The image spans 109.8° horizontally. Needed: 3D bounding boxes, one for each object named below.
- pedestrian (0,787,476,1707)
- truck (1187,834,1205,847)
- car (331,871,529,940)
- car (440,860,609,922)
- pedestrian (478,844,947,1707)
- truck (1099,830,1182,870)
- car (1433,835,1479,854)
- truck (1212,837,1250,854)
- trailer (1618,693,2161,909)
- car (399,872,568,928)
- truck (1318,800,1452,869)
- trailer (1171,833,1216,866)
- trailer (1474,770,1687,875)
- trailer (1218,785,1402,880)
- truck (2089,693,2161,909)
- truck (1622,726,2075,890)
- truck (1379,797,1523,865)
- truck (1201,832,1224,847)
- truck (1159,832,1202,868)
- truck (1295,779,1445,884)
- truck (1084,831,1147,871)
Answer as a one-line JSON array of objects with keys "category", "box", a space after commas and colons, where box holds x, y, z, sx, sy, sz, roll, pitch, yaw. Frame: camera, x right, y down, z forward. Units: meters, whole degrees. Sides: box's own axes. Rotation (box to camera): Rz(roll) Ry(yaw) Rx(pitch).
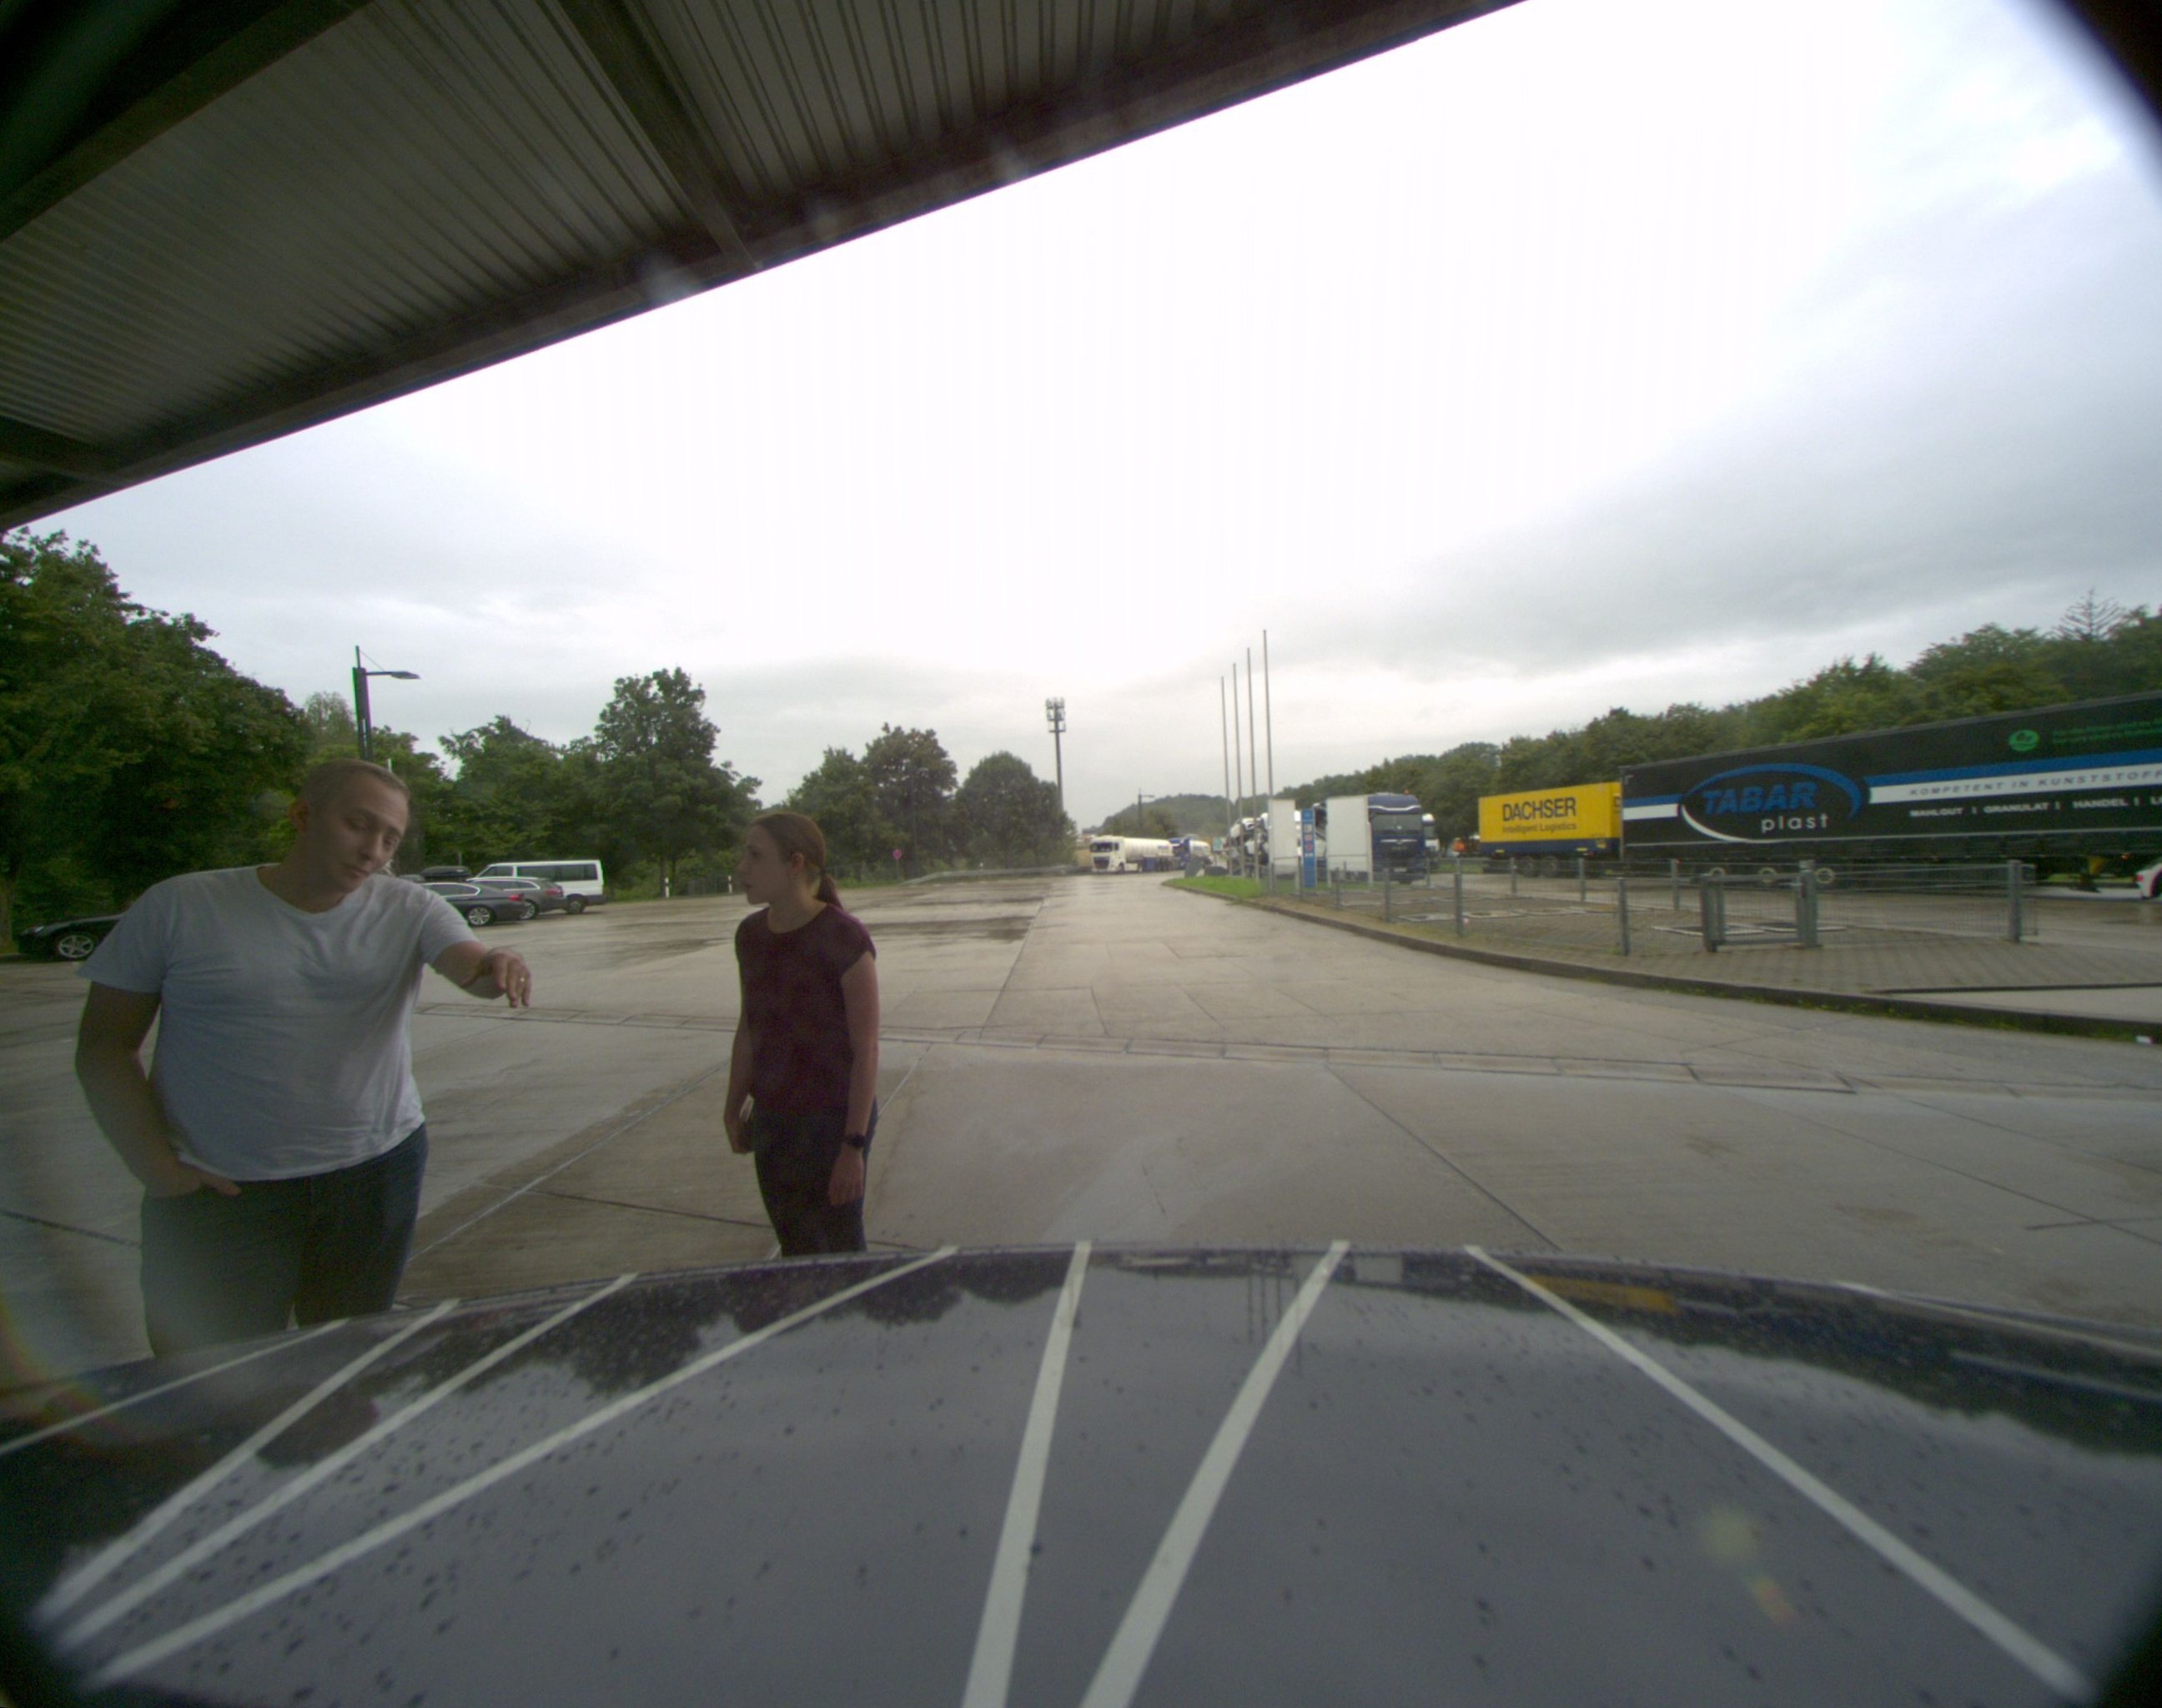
[{"category": "pedestrian", "box": [-1.704, 0.785, 1.519, 0.635, 1.800, 0.493, -4, 3, -34]}, {"category": "truck", "box": [30.813, -3.643, 204.146, 2.619, 3.458, 9.319, -2, 1, -4]}, {"category": "car", "box": [-19.128, 1.451, 22.636, 4.187, 1.720, 1.995, -2, 0, -33]}, {"category": "car", "box": [-20.269, 1.283, 27.908, 4.780, 1.974, 2.010, -2, 0, -36]}, {"category": "pedestrian", "box": [-0.800, 0.848, 1.903, 0.797, 1.724, 0.838, -1, 1, -16]}, {"category": "truck", "box": [6.197, -0.517, 76.343, 3.243, 3.544, 11.995, -2, 1, 31]}, {"category": "car", "box": [45.623, -1.072, 92.613, 2.421, 2.163, 5.623, -2, 0, -6]}, {"category": "truck", "box": [33.805, -1.822, 172.304, 3.251, 3.543, 16.548, -2, 1, -7]}, {"category": "trailer", "box": [20.657, -1.049, 18.536, 2.992, 4.009, 13.791, -2, 1, -13]}, {"category": "car", "box": [-19.659, 1.454, 25.277, 4.187, 1.547, 1.995, -2, 0, -33]}, {"category": "truck", "box": [19.754, -1.213, 50.425, 2.991, 4.009, 10.464, -2, 1, -10]}, {"category": "trailer", "box": [13.666, -0.645, 91.435, 2.898, 3.618, 10.586, -2, 1, 22]}, {"category": "trailer", "box": [21.779, -1.268, 33.985, 2.774, 4.009, 8.853, -2, 1, -8]}, {"category": "trailer", "box": [11.370, -0.993, 40.932, 2.990, 4.009, 16.597, -2, 1, -7]}, {"category": "truck", "box": [22.133, -1.032, 12.064, 2.992, 4.009, 6.733, -2, 1, -15]}, {"category": "truck", "box": [23.056, -1.207, 24.302, 2.774, 4.009, 10.632, -2, 1, -8]}, {"category": "truck", "box": [24.357, -1.395, 50.949, 2.991, 4.009, 10.464, -2, 1, -10]}, {"category": "truck", "box": [35.096, -3.815, 203.466, 3.251, 3.543, 11.968, -2, 1, -5]}, {"category": "truck", "box": [11.326, -0.518, 85.727, 3.045, 3.745, 6.475, -2, 1, 23]}, {"category": "truck", "box": [12.298, -0.917, 33.241, 2.990, 4.009, 7.259, -2, 1, -7]}, {"category": "truck", "box": [3.313, -0.351, 71.432, 3.243, 3.544, 6.114, -2, 1, 31]}]
